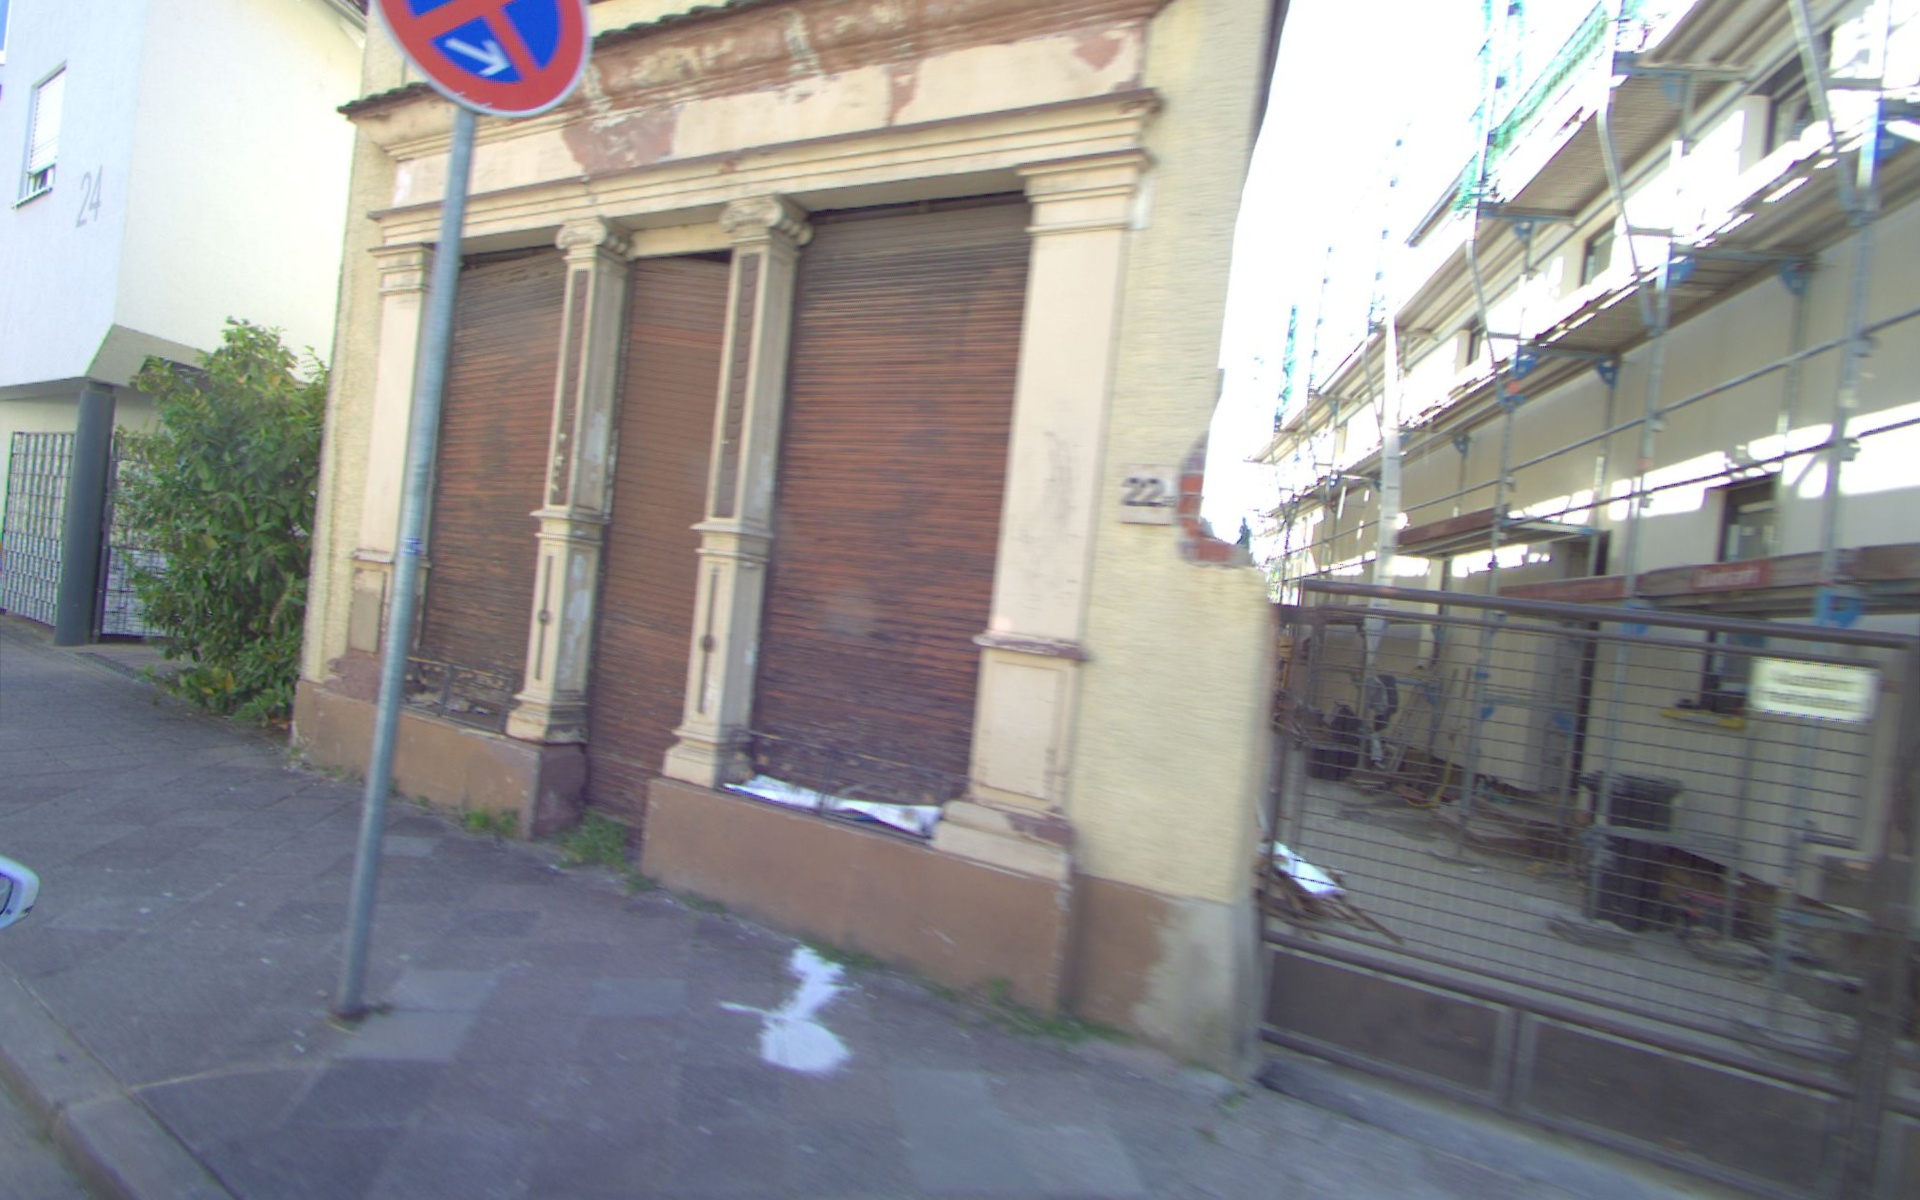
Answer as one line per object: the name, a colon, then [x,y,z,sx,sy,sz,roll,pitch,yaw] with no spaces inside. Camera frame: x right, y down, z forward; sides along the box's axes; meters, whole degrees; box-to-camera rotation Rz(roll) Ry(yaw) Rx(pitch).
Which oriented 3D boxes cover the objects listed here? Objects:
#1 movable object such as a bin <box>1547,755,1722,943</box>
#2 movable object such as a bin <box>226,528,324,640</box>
movable object such as a bin: [4.162,1.518,6.255,0.624,0.967,0.573,6,1,8]
movable object such as a bin: [-7.433,-0.171,10.933,0.574,1.143,0.601,5,1,15]
